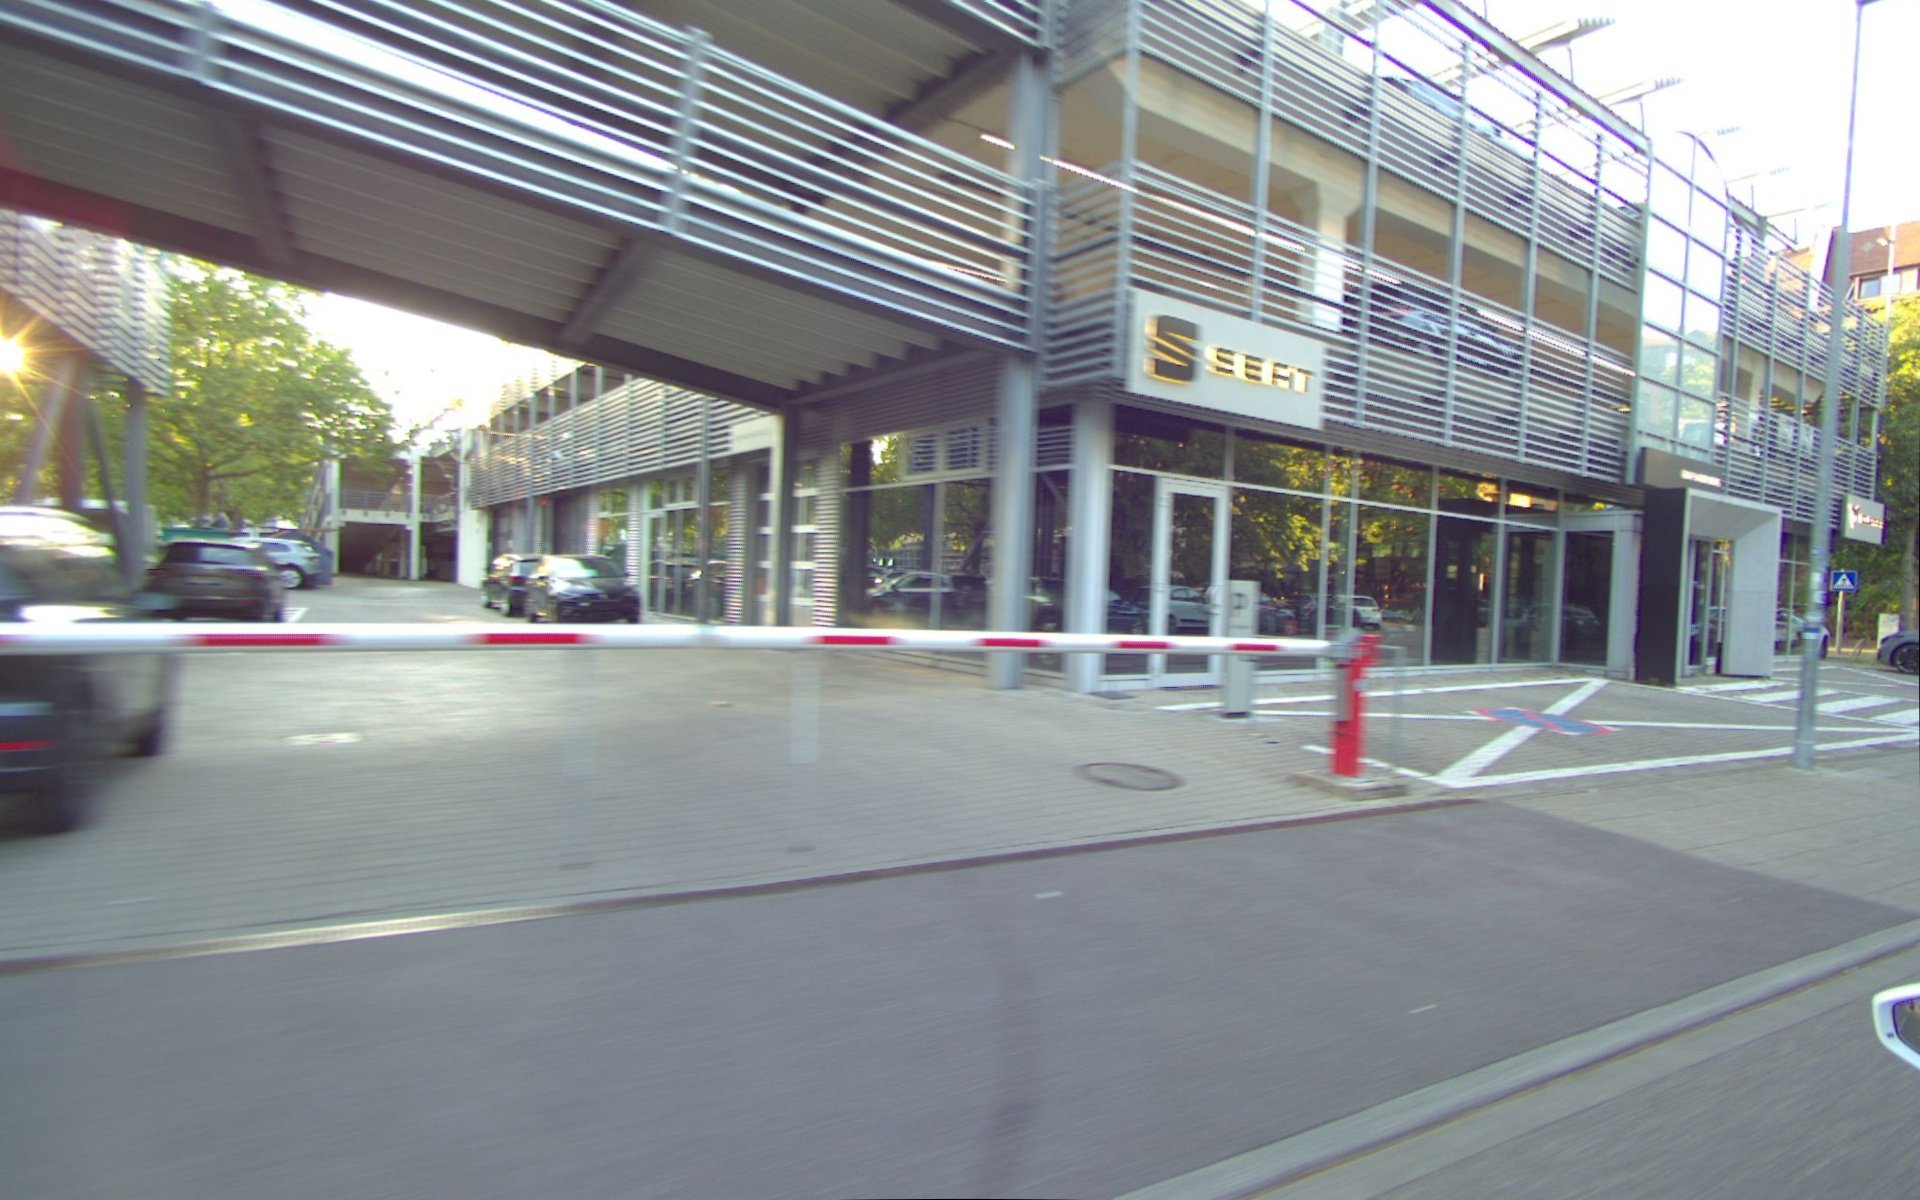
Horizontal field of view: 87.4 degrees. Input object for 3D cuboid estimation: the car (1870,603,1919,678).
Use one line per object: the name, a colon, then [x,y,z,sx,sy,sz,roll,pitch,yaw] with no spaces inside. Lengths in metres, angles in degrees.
car: [23.172,1.032,22.200,1.892,1.640,4.107,1,4,-31]

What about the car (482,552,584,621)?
car: [-10.722,-0.408,25.083,1.670,1.493,3.804,-2,5,-33]

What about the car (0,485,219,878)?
car: [-5.441,0.236,5.465,1.839,1.607,3.965,3,0,-31]

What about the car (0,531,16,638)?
car: [-13.647,-0.181,12.434,1.808,1.515,4.211,1,2,-28]

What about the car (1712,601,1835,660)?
car: [23.943,0.898,29.517,4.182,1.571,1.690,2,1,-35]

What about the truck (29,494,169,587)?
truck: [-27.669,-1.877,32.577,2.418,2.603,6.877,2,2,-32]

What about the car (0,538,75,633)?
car: [-16.231,-0.309,16.664,1.577,1.445,3.434,2,2,-29]

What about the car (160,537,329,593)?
car: [-23.298,-1.143,32.945,4.342,1.595,2.282,2,2,-34]

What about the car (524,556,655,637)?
car: [-7.870,-0.155,21.138,1.768,1.493,3.805,-2,4,-33]

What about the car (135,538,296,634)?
car: [-13.615,-0.279,18.608,1.837,1.575,3.963,1,2,-28]
